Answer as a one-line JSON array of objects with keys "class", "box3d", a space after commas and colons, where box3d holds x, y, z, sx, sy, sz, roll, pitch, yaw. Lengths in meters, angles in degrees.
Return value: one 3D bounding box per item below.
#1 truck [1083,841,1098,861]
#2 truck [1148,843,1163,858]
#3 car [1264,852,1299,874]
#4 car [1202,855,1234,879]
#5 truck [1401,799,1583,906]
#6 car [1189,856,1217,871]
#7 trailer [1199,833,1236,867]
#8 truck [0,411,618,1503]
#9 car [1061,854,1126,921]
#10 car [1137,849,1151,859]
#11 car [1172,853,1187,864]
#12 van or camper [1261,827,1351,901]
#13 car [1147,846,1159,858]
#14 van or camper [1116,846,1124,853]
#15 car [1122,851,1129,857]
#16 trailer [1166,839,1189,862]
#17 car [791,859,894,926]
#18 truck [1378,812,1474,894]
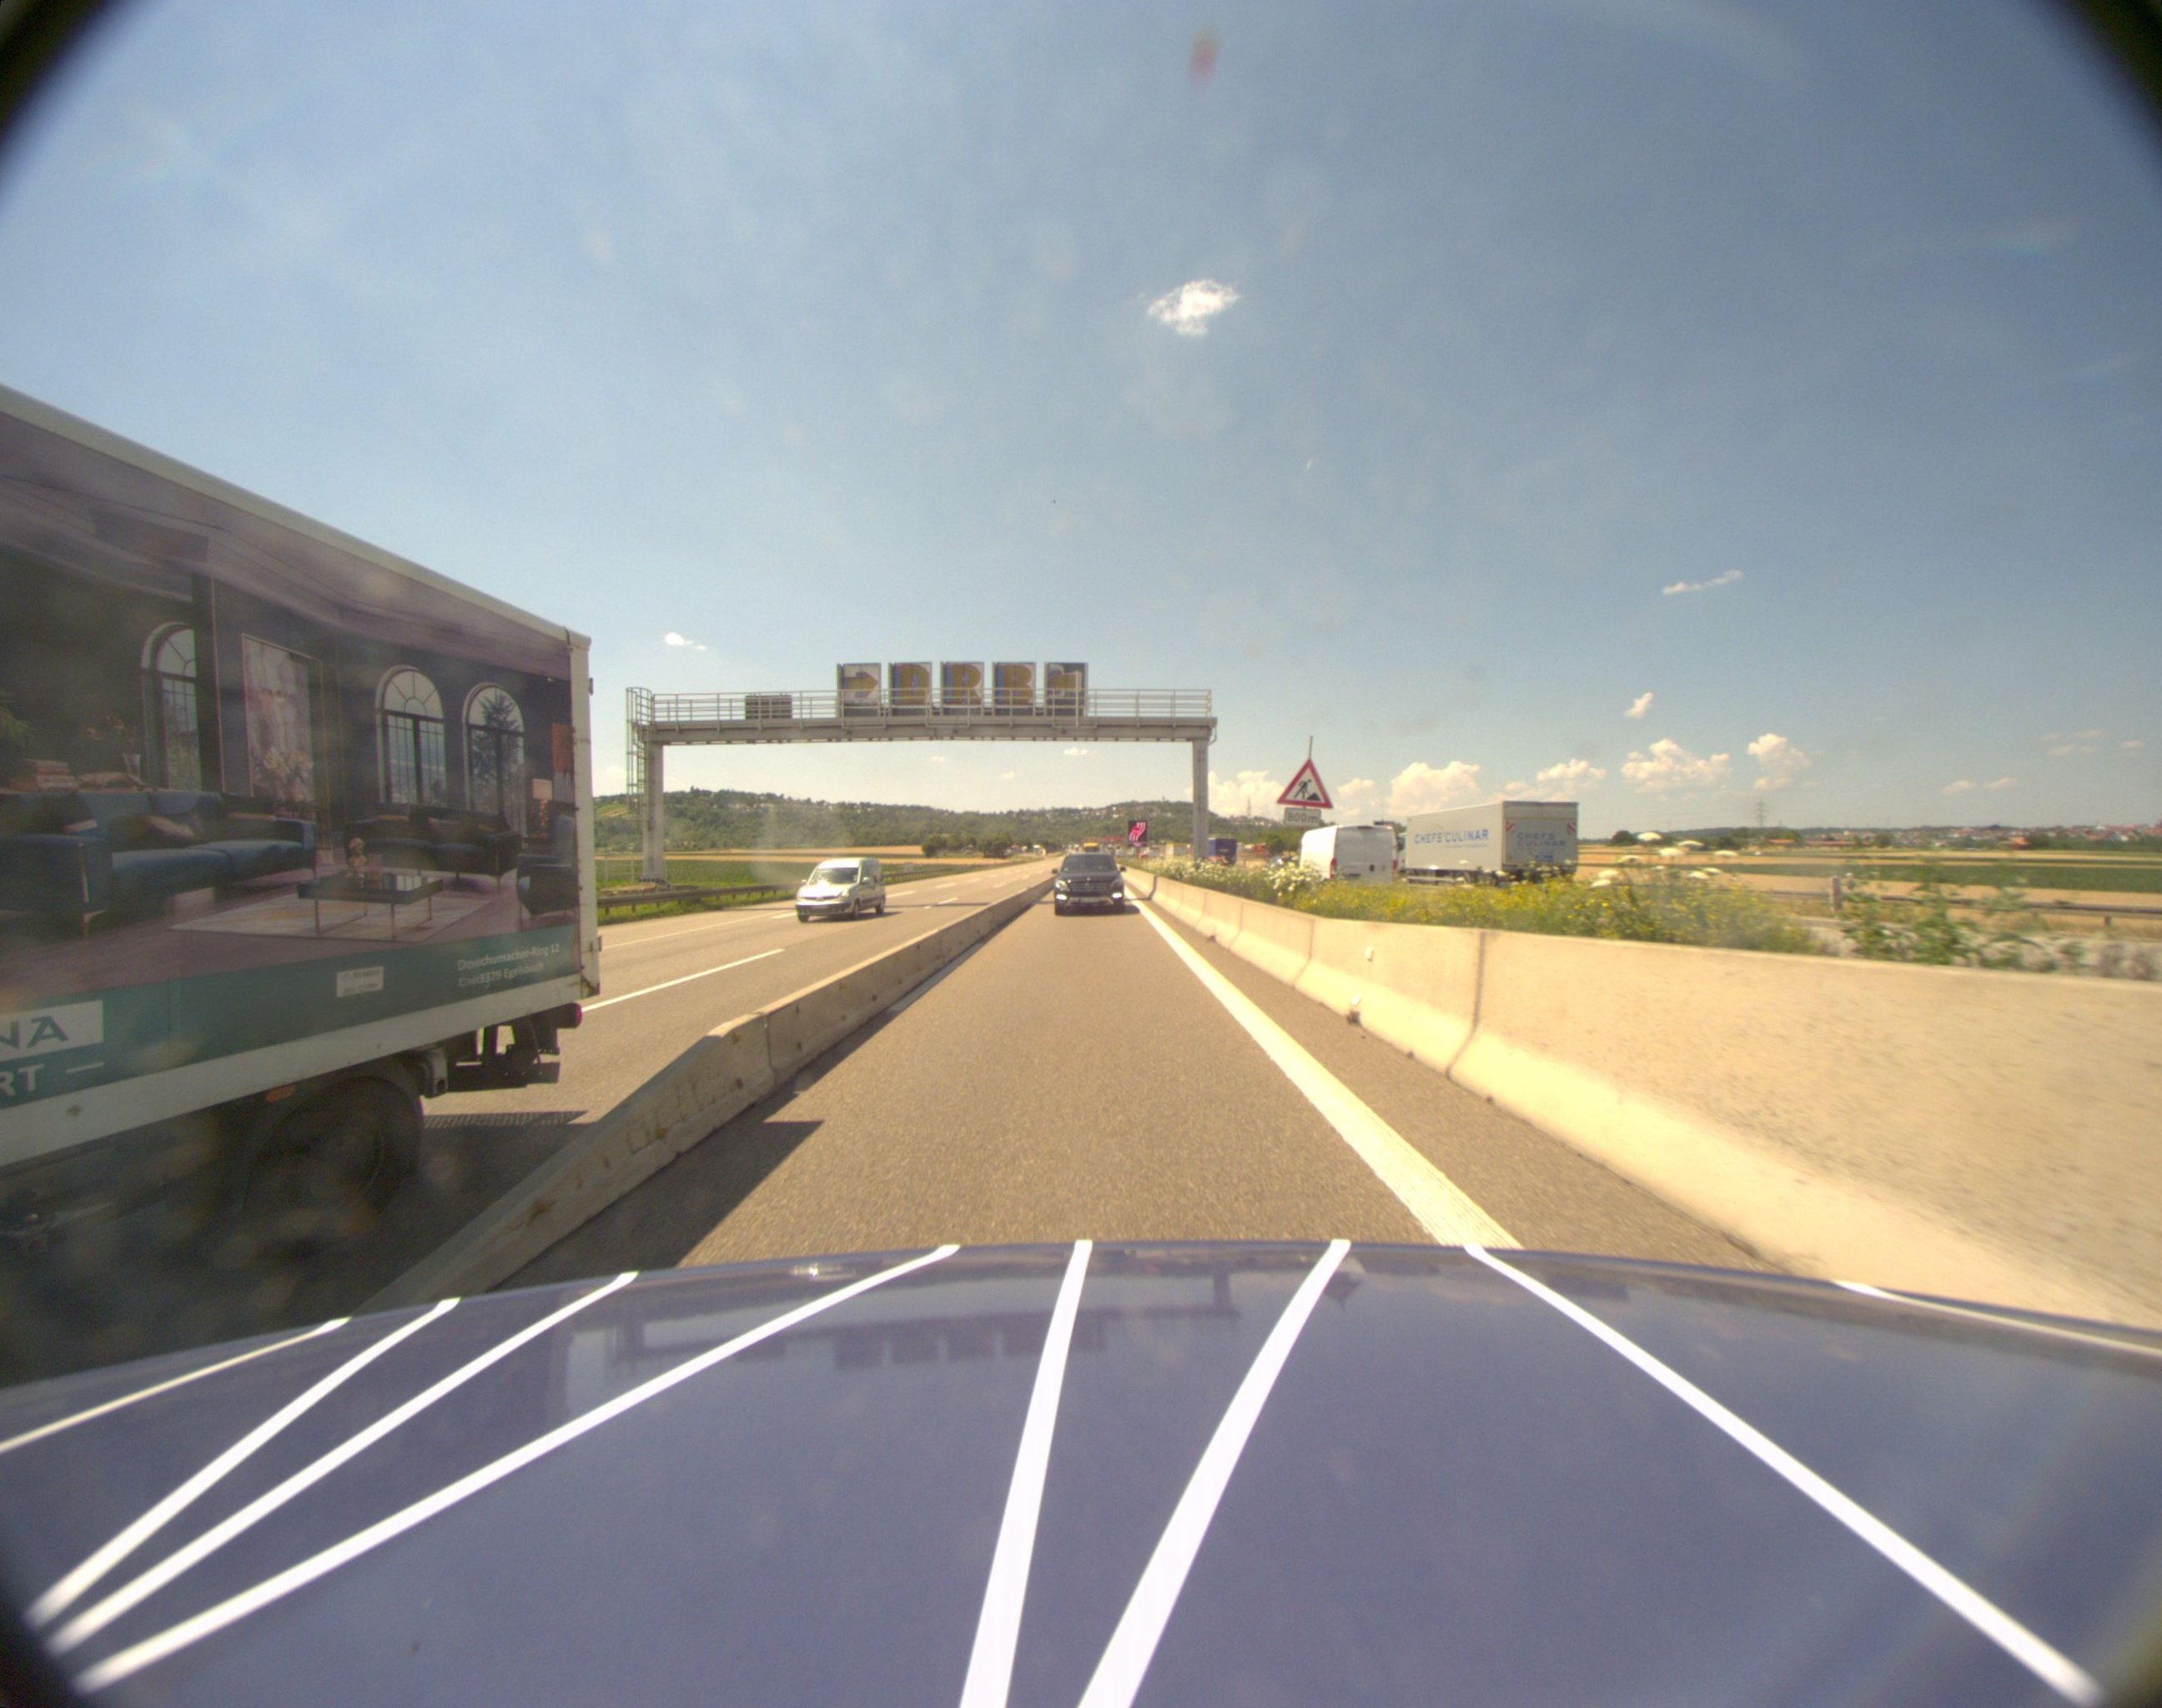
[{"class": "truck", "box3d": [1.693, -0.553, 126.997, 2.272, 3.139, 8.186, -2, 1, 1]}, {"class": "truck", "box3d": [19.341, -0.945, 198.680, 2.801, 3.588, 13.289, 2, 0, 2]}, {"class": "car", "box3d": [16.465, 0.701, 62.553, 1.837, 1.709, 4.080, 1, 0, 1]}, {"class": "car", "box3d": [9.385, 0.862, 52.242, 1.563, 1.561, 3.704, -1, 0, 0]}, {"class": "truck", "box3d": [15.823, -0.043, 30.223, 2.706, 3.599, 8.787, 1, 0, 2]}, {"class": "car", "box3d": [11.365, 0.867, 70.834, 1.837, 1.316, 4.280, 1, 0, -1]}, {"class": "trailer", "box3d": [17.296, -0.450, 97.531, 2.392, 4.063, 14.096, 0, 0, 1]}, {"class": "truck", "box3d": [-4.199, 0.298, 1.447, 2.326, 3.049, 6.751, -2, 0, 1]}, {"class": "car", "box3d": [0.383, 0.887, 21.850, 1.630, 1.711, 3.865, -2, 0, 2]}, {"class": "car", "box3d": [10.077, -0.027, 121.521, 1.899, 1.569, 4.935, -2, 1, 1]}, {"class": "car", "box3d": [13.953, 0.660, 107.701, 1.592, 1.499, 4.229, 0, 0, 2]}, {"class": "van or camper", "box3d": [8.480, 0.355, 29.082, 2.153, 2.613, 4.397, 0, 0, 0]}, {"class": "car", "box3d": [15.713, -0.446, 165.540, 2.052, 2.486, 5.812, 0, 0, 1]}, {"class": "van or camper", "box3d": [11.637, -1.319, 227.650, 2.040, 2.208, 7.208, -2, 0, 1]}, {"class": "car", "box3d": [11.304, 0.023, 193.391, 1.601, 1.460, 4.533, 0, 0, 1]}, {"class": "trailer", "box3d": [18.092, -0.686, 143.225, 2.817, 4.104, 14.129, 0, 0, 1]}, {"class": "car", "box3d": [-6.899, 1.044, 22.393, 1.630, 1.727, 3.973, -2, 0, 2]}, {"class": "truck", "box3d": [16.023, -0.033, 35.594, 2.704, 3.566, 4.000, 1, 0, 2]}]
